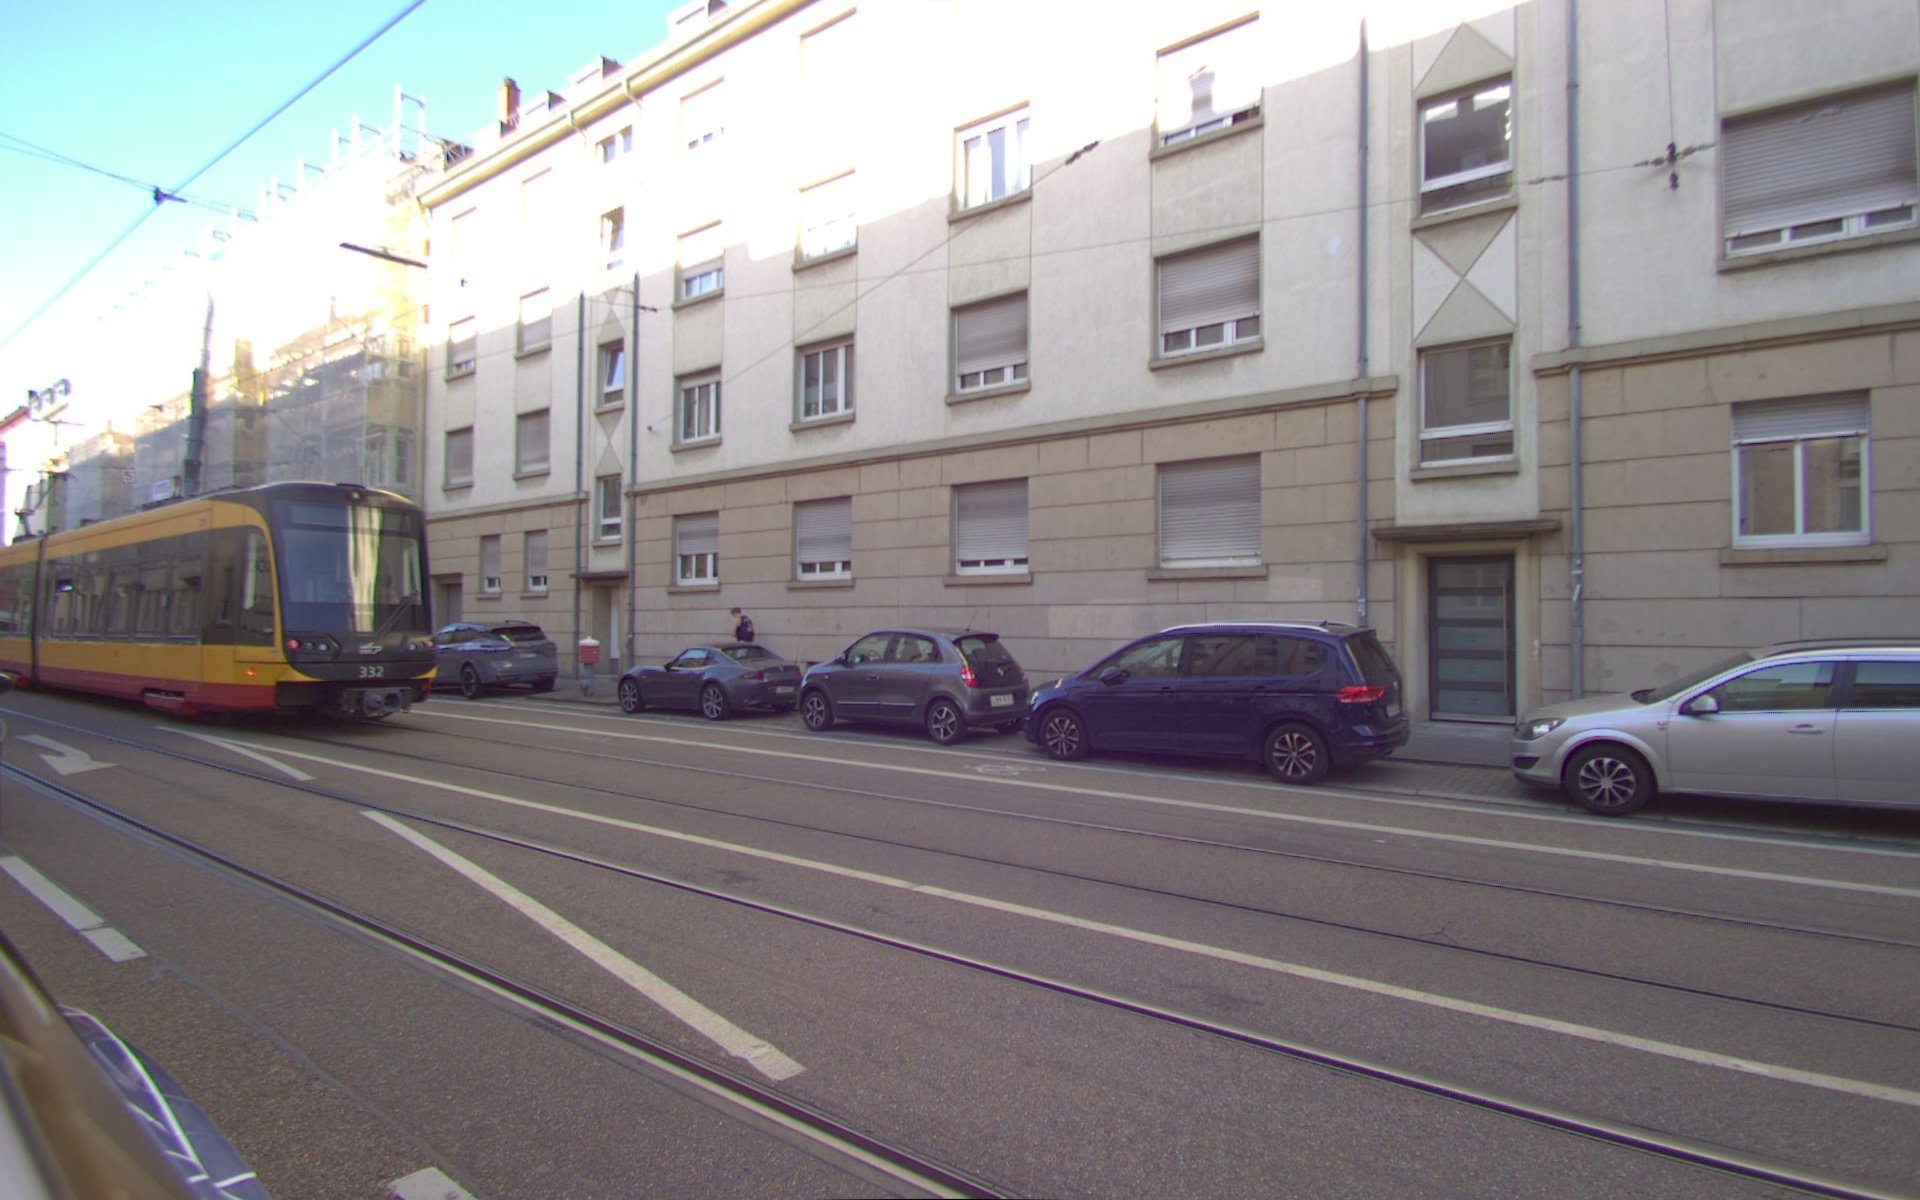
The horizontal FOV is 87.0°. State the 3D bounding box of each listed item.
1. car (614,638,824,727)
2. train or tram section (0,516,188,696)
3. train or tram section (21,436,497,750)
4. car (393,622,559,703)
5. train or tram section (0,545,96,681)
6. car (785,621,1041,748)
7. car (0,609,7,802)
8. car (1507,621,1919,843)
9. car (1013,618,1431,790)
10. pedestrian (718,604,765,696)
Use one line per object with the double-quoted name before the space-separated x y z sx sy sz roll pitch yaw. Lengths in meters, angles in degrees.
"car" -4.212 1.355 17.543 3.483 1.286 1.730 -1 0 37
"train or tram section" -21.793 0.167 24.473 9.072 3.658 2.798 -1 0 38
"train or tram section" -12.806 -0.022 17.346 14.247 3.659 2.718 -1 0 39
"car" -10.891 1.328 22.670 4.108 1.603 1.691 -1 0 38
"train or tram section" -30.312 0.441 31.238 12.613 3.621 3.032 -1 -3 38
"car" -0.731 1.119 14.702 3.493 1.584 1.650 -1 0 38
"car" -8.022 0.832 6.963 3.997 1.515 1.670 -2 -3 40
"car" 7.228 0.994 8.526 4.358 1.571 1.975 -1 0 38
"car" 2.914 1.024 11.680 4.285 1.597 1.887 -1 0 37
"pedestrian" -4.507 1.010 20.866 0.733 1.846 0.592 -1 0 40
